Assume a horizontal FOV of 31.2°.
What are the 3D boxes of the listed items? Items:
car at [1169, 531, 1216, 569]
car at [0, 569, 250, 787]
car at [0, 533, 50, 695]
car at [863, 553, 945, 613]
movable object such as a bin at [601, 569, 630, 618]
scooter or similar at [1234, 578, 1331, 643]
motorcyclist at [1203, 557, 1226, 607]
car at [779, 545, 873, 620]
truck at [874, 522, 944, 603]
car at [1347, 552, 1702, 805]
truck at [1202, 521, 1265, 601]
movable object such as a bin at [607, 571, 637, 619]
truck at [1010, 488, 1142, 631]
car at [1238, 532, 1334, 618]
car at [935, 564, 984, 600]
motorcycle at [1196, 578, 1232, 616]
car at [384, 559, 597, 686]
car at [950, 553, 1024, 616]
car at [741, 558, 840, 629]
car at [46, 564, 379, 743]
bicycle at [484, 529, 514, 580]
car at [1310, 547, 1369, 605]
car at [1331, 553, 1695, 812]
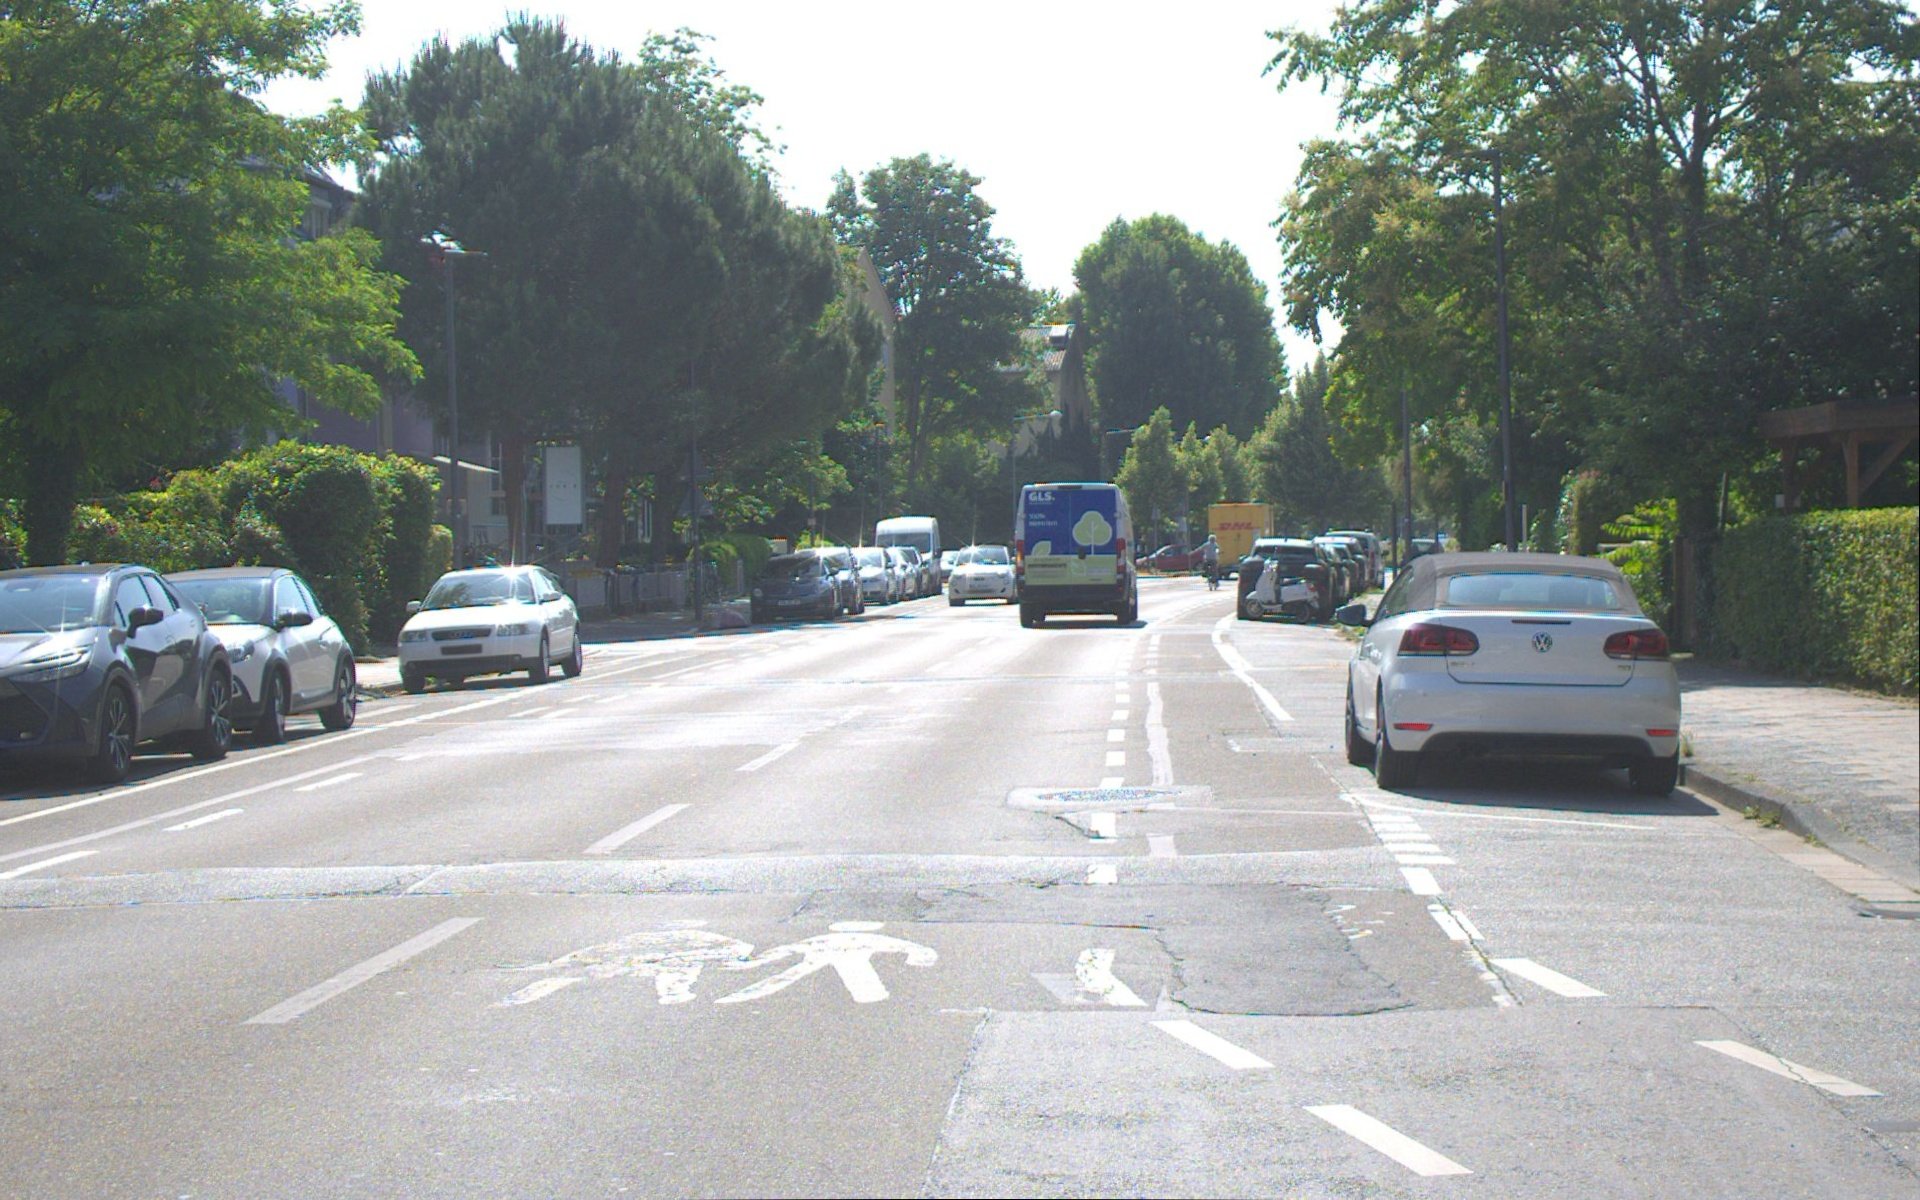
[{"bbox_3d":[10.267,-2.193,151.564,1.994,1.652,4.604,-1,1,4],"label":"car"},{"bbox_3d":[-6.677,0.526,25.151,1.785,1.435,4.110,-2,1,5],"label":"car"},{"bbox_3d":[-12.334,0.161,37.927,3.987,1.753,2.000,0,1,4],"label":"car"},{"bbox_3d":[-1.503,-0.451,93.415,1.835,1.590,3.774,-1,0,5],"label":"car"},{"bbox_3d":[-7.857,-0.140,78.377,0.544,1.107,0.518,-1,0,9],"label":"movable object such as a bin"},{"bbox_3d":[6.240,0.193,66.539,0.718,1.150,1.796,2,1,-42],"label":"scooter or similar"},{"bbox_3d":[7.832,-0.561,105.772,0.672,1.513,0.652,-1,0,3],"label":"motorcyclist"},{"bbox_3d":[-3.172,-0.426,82.255,1.908,1.671,4.258,-2,0,1],"label":"car"},{"bbox_3d":[-1.638,-1.217,111.550,2.081,2.528,5.467,-1,1,1],"label":"truck"},{"bbox_3d":[3.400,0.421,21.361,1.855,1.366,3.999,2,1,5],"label":"car"},{"bbox_3d":[10.314,-1.460,130.081,2.214,2.936,5.685,-1,0,3],"label":"truck"},{"bbox_3d":[-7.771,-0.116,78.987,0.544,1.107,0.584,-1,0,9],"label":"movable object such as a bin"},{"bbox_3d":[2.210,-0.735,64.305,2.272,2.563,4.391,-1,0,4],"label":"truck"},{"bbox_3d":[6.595,-0.509,69.229,1.785,1.632,4.469,1,1,7],"label":"car"},{"bbox_3d":[-0.011,-0.693,131.961,1.754,1.339,3.653,-1,1,2],"label":"car"},{"bbox_3d":[7.799,-0.100,105.737,1.056,1.119,2.991,-1,0,4],"label":"motorcycle"},{"bbox_3d":[-5.685,0.238,42.080,1.785,1.435,4.000,-1,1,4],"label":"car"},{"bbox_3d":[0.723,-0.394,89.160,1.732,1.536,4.000,-2,0,2],"label":"car"},{"bbox_3d":[-3.739,-0.159,76.498,1.781,1.455,4.086,-2,1,3],"label":"car"},{"bbox_3d":[-6.465,0.416,30.175,1.785,1.435,4.000,-1,1,4],"label":"car"},{"bbox_3d":[-11.134,-1.103,83.006,0.537,1.177,1.446,-1,2,-2],"label":"bicycle"},{"bbox_3d":[11.388,-0.721,103.025,1.701,1.671,3.774,-1,0,7],"label":"car"},{"bbox_3d":[3.339,0.438,21.441,1.740,1.397,4.073,2,1,3],"label":"car"}]
